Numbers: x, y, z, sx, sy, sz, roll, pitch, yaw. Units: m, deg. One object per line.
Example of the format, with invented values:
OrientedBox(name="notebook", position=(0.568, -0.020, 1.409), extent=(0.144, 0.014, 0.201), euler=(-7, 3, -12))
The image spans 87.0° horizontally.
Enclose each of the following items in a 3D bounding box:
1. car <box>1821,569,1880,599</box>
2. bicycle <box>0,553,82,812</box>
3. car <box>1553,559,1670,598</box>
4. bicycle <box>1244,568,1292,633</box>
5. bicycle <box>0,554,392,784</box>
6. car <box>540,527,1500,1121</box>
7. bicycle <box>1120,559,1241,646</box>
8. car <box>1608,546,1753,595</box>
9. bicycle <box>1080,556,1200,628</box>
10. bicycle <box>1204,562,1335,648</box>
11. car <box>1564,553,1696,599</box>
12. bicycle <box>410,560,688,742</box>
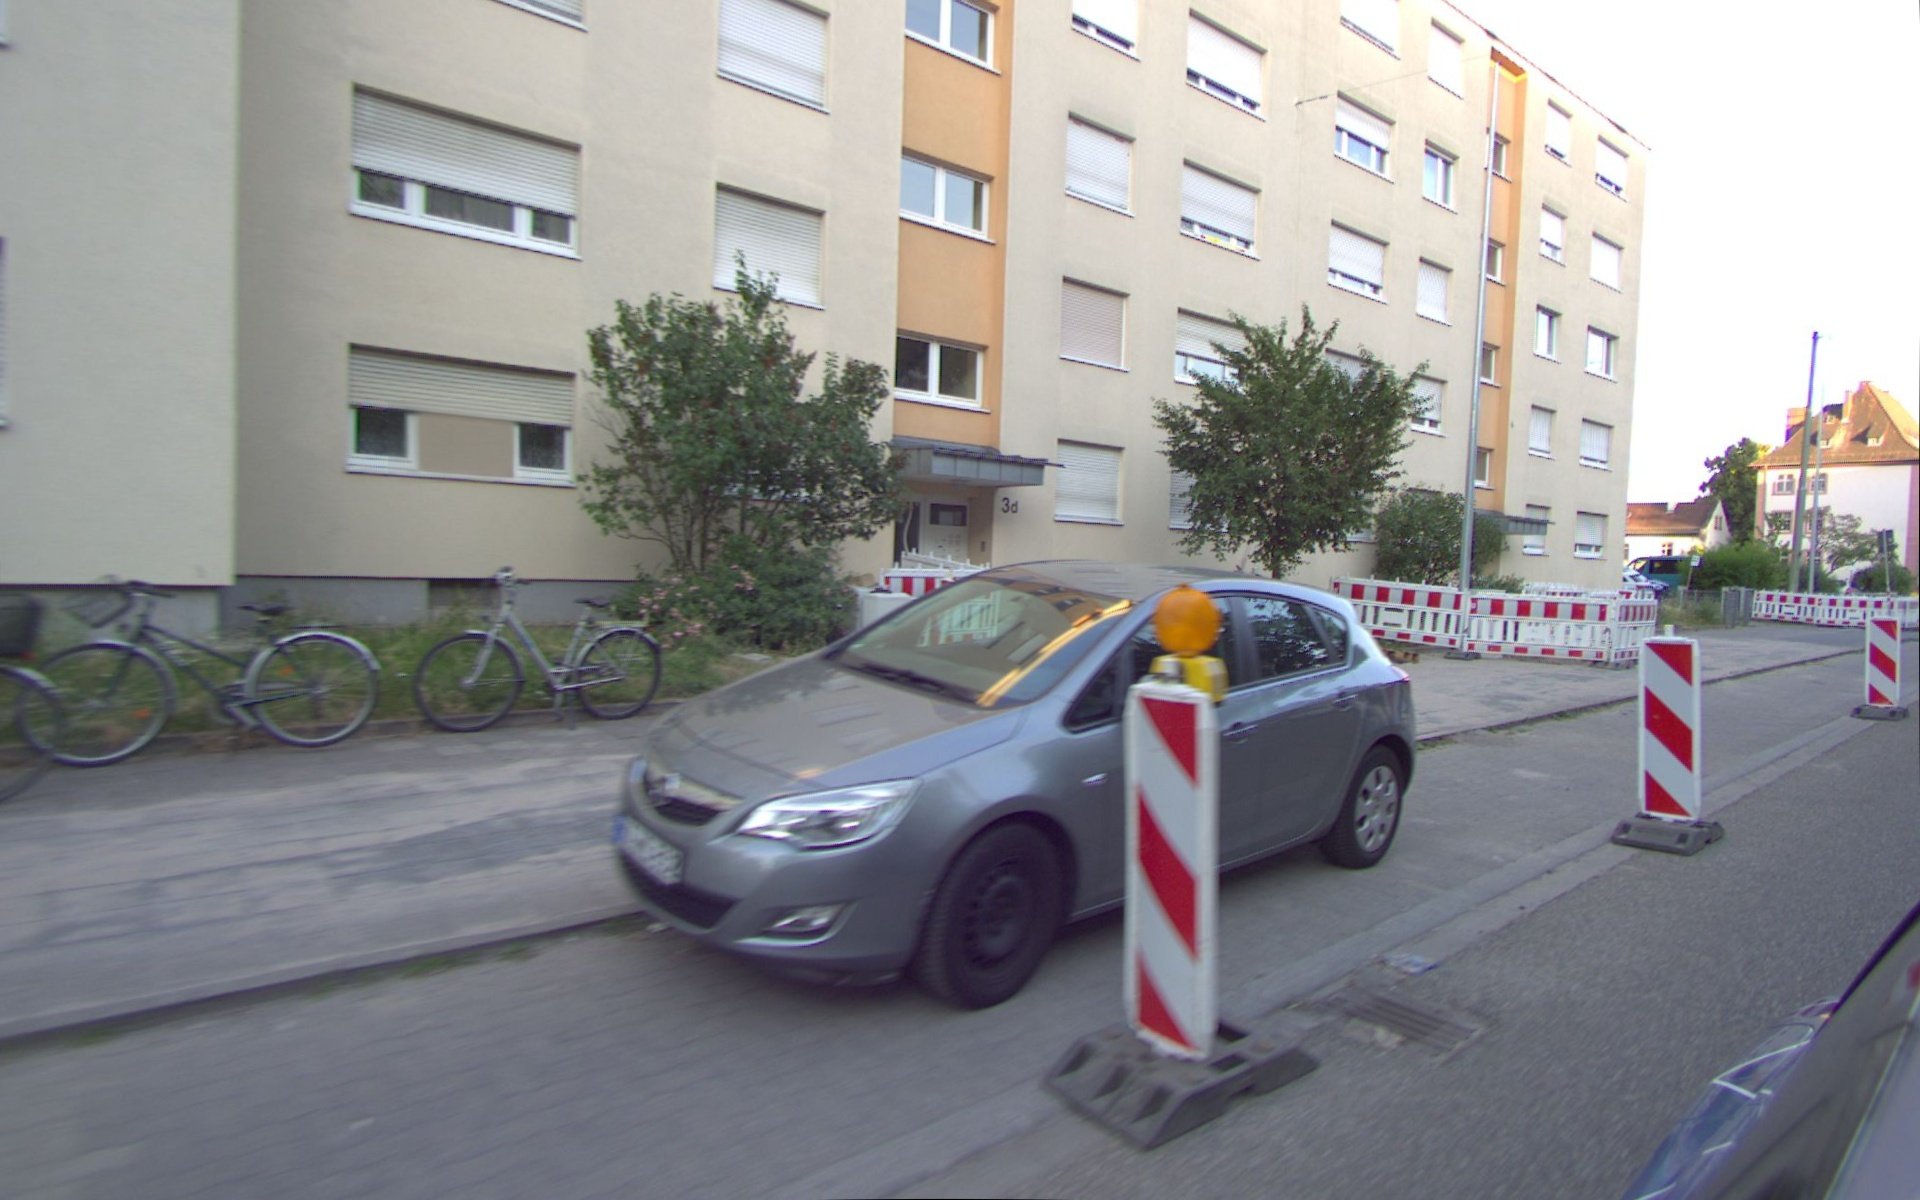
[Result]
OrientedBox(name="car", position=(53.712, -0.970, 60.998), extent=(4.723, 1.650, 1.919), euler=(0, 3, -40))
OrientedBox(name="bicycle", position=(-4.930, 0.385, 4.258), extent=(0.553, 1.186, 1.798), euler=(2, 2, 29))
OrientedBox(name="car", position=(27.885, -0.946, 43.410), extent=(1.664, 1.470, 3.842), euler=(0, 4, -38))
OrientedBox(name="bicycle", position=(5.085, -0.018, 16.653), extent=(0.551, 0.874, 1.605), euler=(6, 7, 21))
OrientedBox(name="bicycle", position=(-4.431, 0.345, 6.003), extent=(1.783, 1.186, 0.557), euler=(0, 2, -38))
OrientedBox(name="car", position=(0.615, 0.550, 4.821), extent=(4.492, 1.508, 1.782), euler=(0, 7, -40))
OrientedBox(name="bicycle", position=(3.098, 0.006, 14.399), extent=(0.547, 0.998, 1.763), euler=(0, 7, -31))
OrientedBox(name="car", position=(33.949, -1.437, 47.842), extent=(2.245, 2.156, 5.042), euler=(0, 3, -32))
OrientedBox(name="bicycle", position=(2.851, -0.140, 16.156), extent=(1.787, 0.931, 0.557), euler=(5, 6, 9))
OrientedBox(name="bicycle", position=(4.623, 0.035, 15.232), extent=(0.548, 1.034, 1.817), euler=(-1, 8, -39))
OrientedBox(name="car", position=(29.821, -1.090, 45.168), extent=(1.968, 1.832, 4.492), euler=(0, 3, -38))
OrientedBox(name="bicycle", position=(-2.944, 0.321, 7.361), extent=(1.783, 1.186, 0.557), euler=(0, 2, -38))
